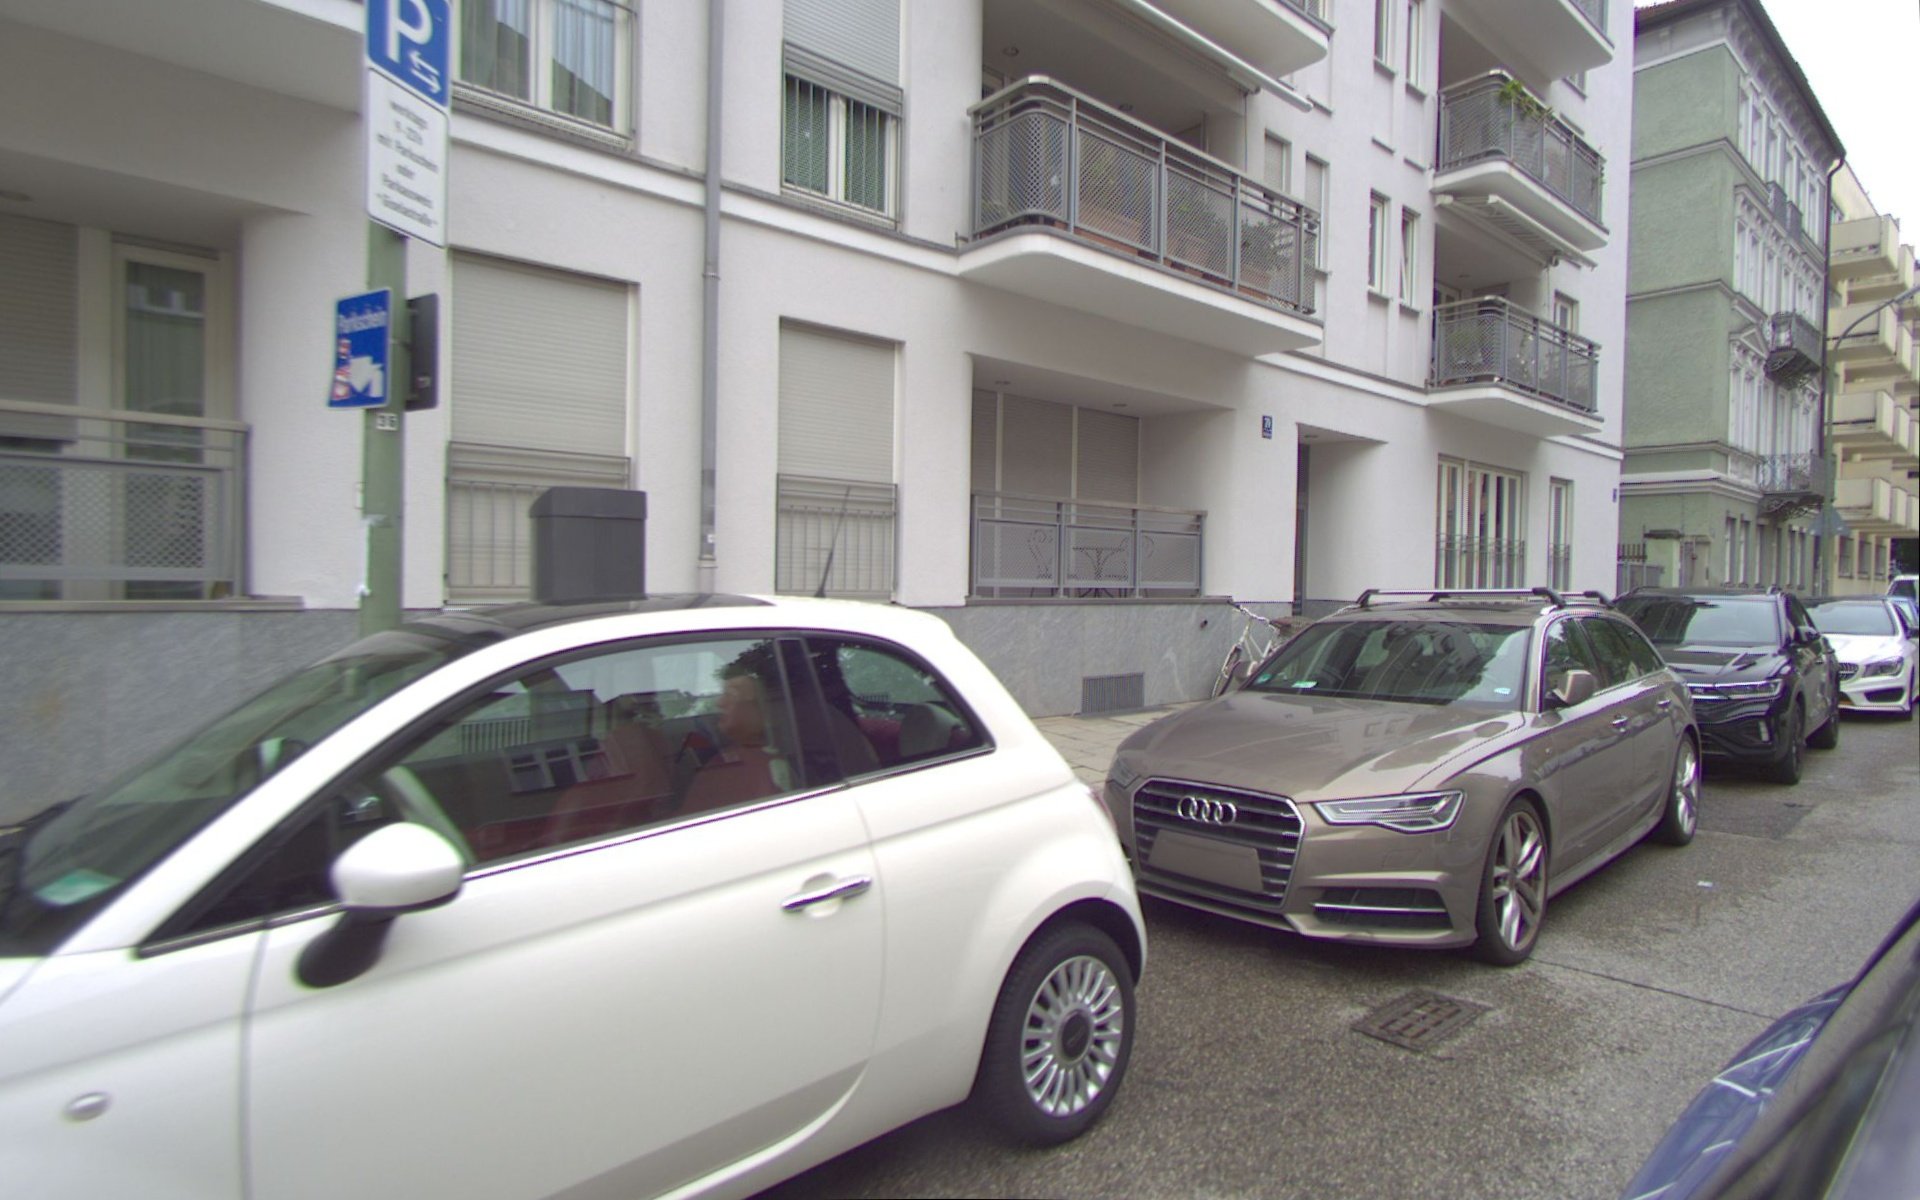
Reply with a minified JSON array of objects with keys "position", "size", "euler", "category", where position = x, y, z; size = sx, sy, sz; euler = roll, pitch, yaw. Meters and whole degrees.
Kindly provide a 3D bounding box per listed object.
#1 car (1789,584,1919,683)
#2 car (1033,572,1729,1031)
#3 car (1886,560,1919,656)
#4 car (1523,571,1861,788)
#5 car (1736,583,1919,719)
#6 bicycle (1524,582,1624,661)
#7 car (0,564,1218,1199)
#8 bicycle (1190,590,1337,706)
[{"position":[14.868,0.485,16.425],"size":[3.656,1.441,1.717],"euler":[0,0,-43],"category":"car"},{"position":[2.595,0.639,5.521],"size":[4.525,1.501,1.793],"euler":[0,0,-43],"category":"car"},{"position":[22.486,0.186,22.823],"size":[4.699,2.056,1.857],"euler":[0,0,-41],"category":"car"},{"position":[6.833,0.557,9.288],"size":[3.954,1.552,1.839],"euler":[0,0,-44],"category":"car"},{"position":[11.539,0.539,13.101],"size":[4.302,1.485,1.666],"euler":[0,0,-43],"category":"car"},{"position":[9.841,0.322,16.191],"size":[1.939,1.186,0.803],"euler":[0,1,-41],"category":"bicycle"},{"position":[-1.129,0.687,2.485],"size":[3.681,1.485,1.620],"euler":[0,0,-41],"category":"car"},{"position":[3.275,0.477,10.835],"size":[1.778,1.111,0.570],"euler":[0,5,-41],"category":"bicycle"}]
